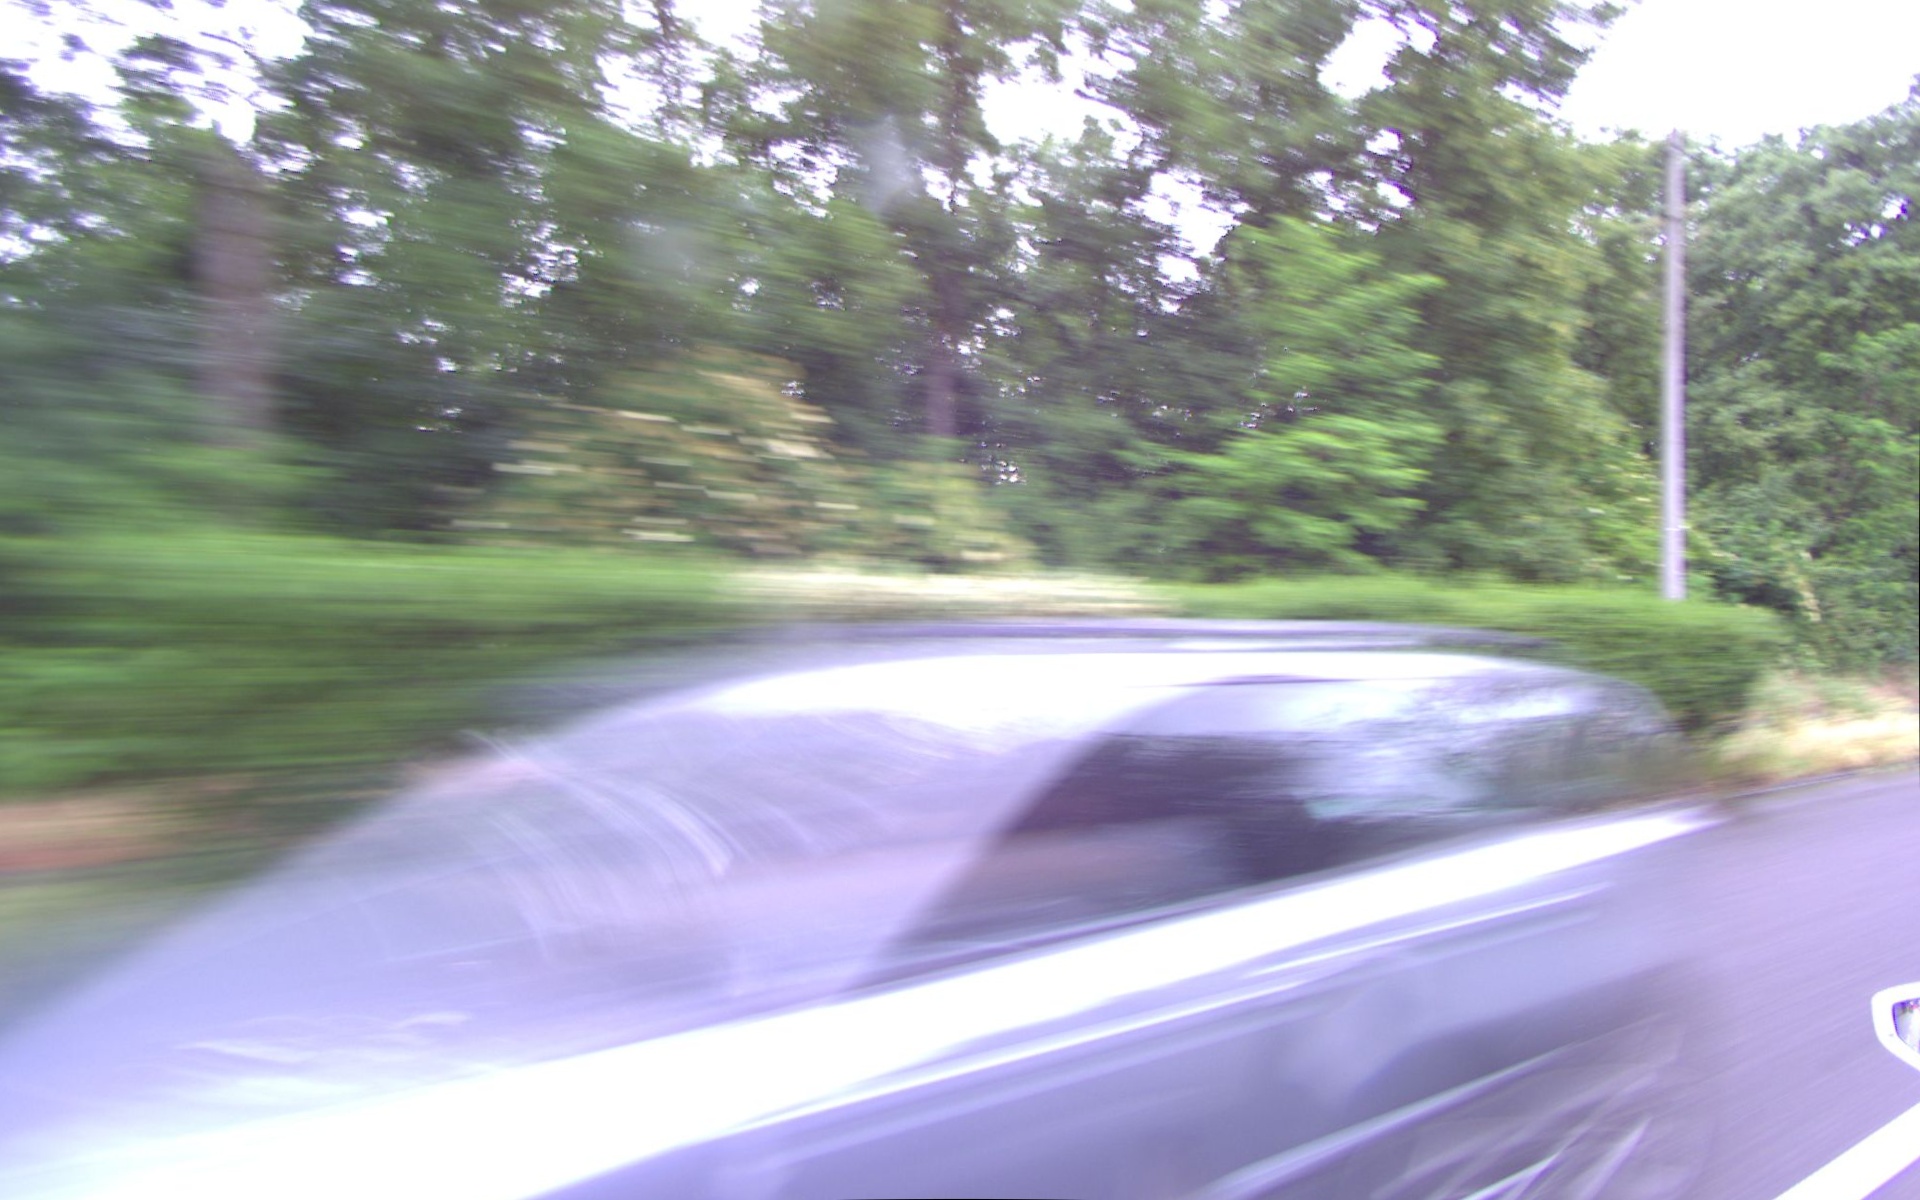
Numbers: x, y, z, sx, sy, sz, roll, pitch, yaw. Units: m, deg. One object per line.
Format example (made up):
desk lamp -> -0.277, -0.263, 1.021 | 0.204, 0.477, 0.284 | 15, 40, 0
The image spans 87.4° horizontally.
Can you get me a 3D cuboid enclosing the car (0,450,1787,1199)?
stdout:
car -> 0.031, 0.696, 2.363 | 3.922, 1.499, 1.775 | 2, -2, -31
